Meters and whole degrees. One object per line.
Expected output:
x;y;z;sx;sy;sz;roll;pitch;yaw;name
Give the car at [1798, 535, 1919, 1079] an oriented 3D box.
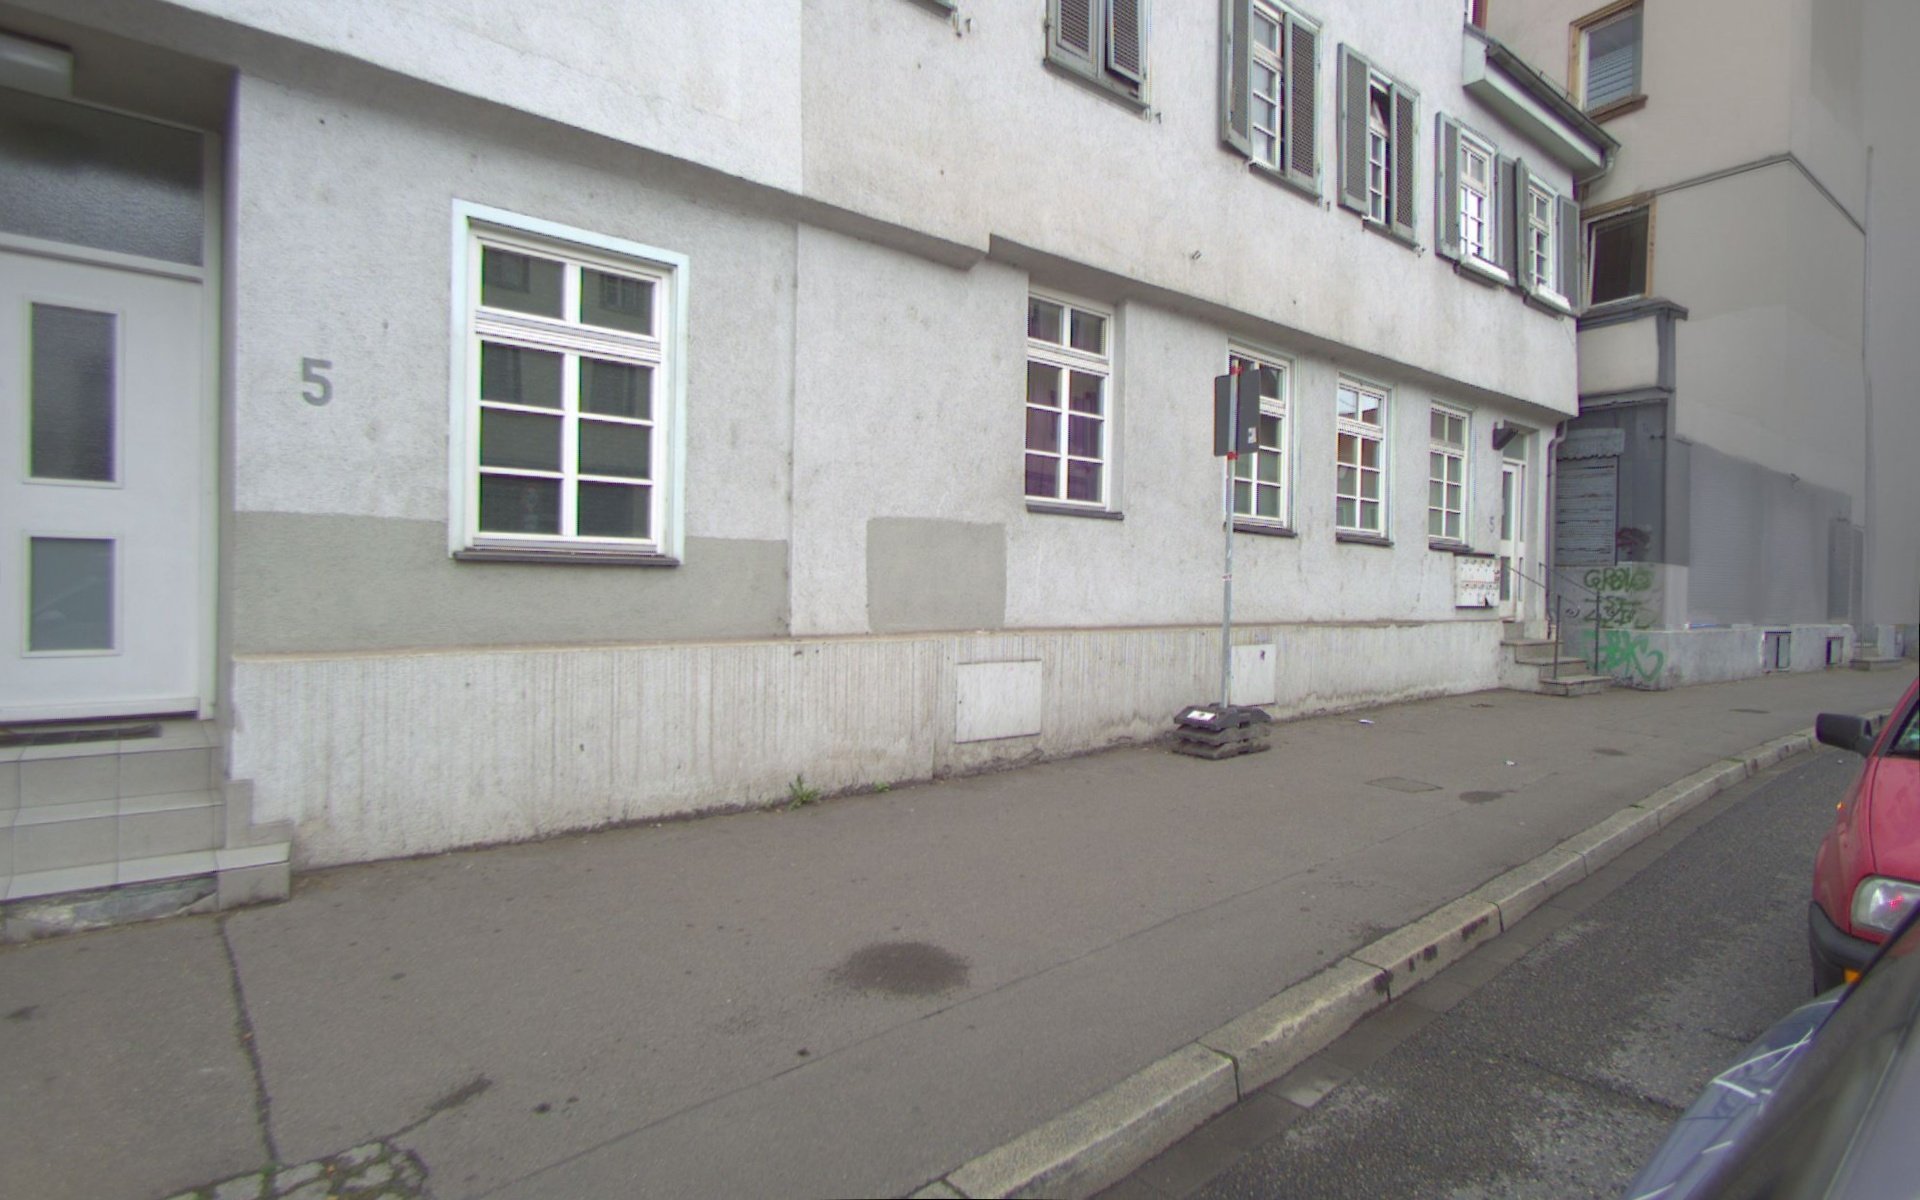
4.425;0.567;3.543;3.931;1.443;1.790;1;0;-43;car
